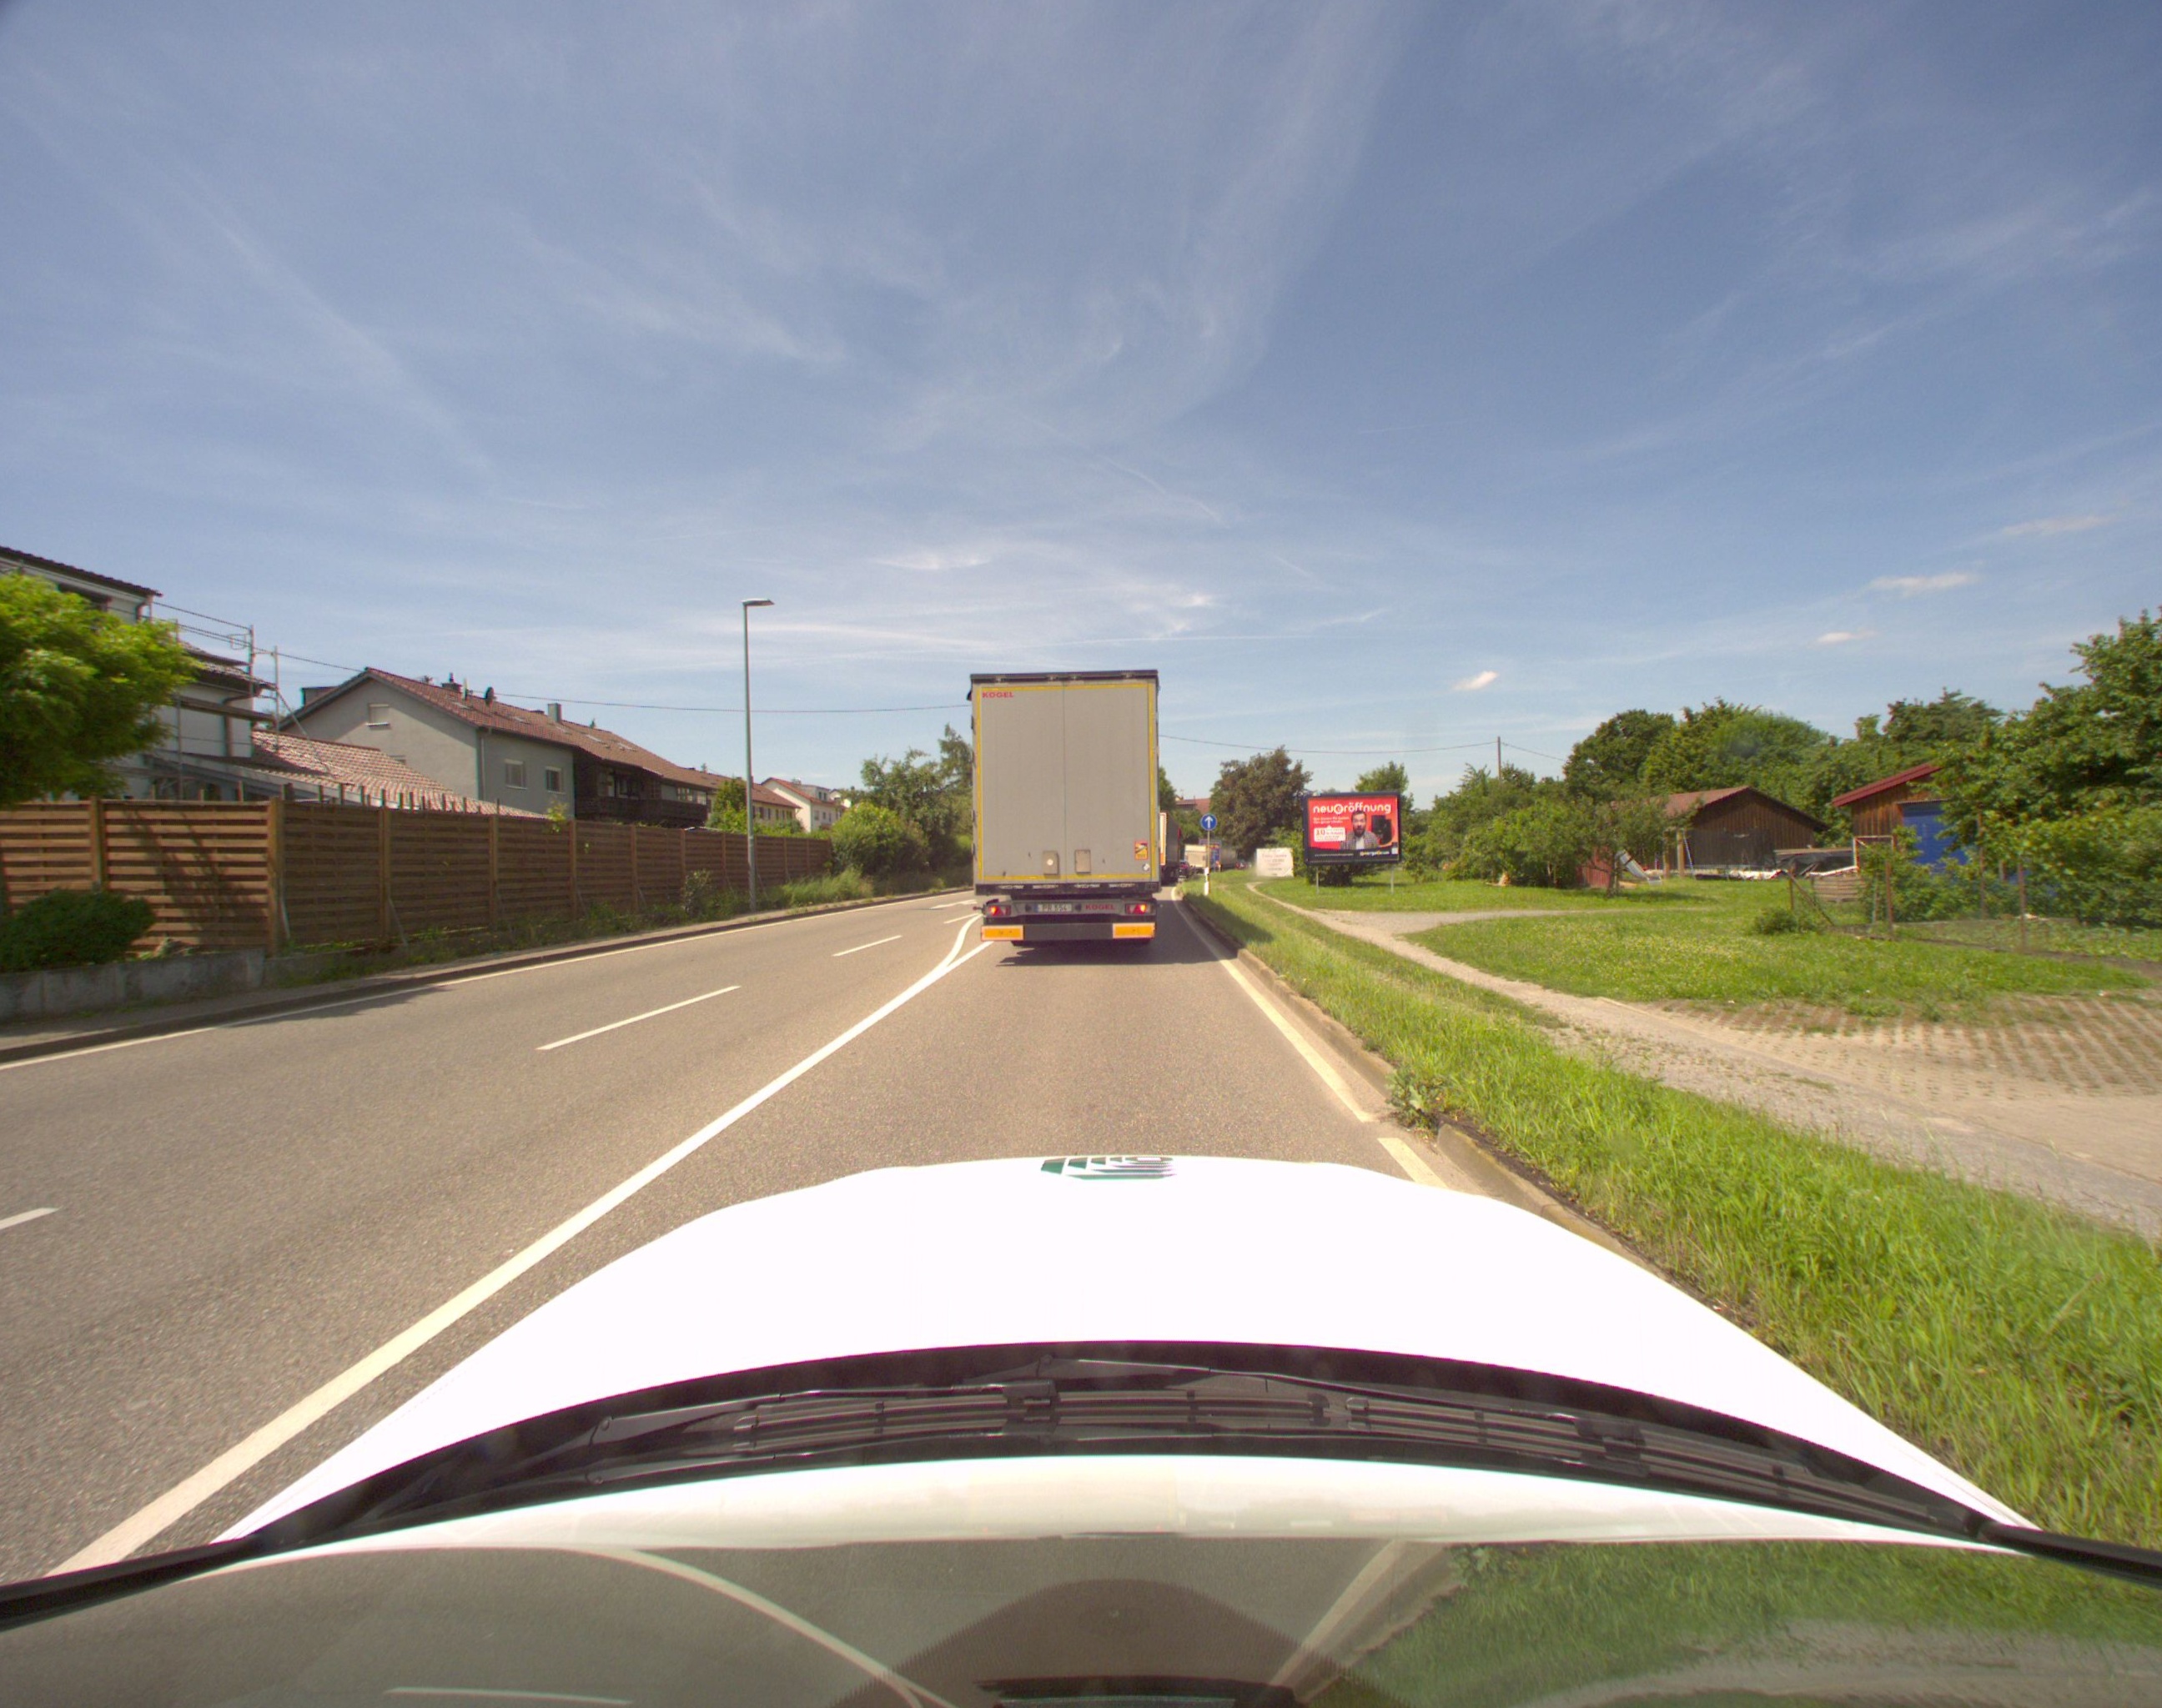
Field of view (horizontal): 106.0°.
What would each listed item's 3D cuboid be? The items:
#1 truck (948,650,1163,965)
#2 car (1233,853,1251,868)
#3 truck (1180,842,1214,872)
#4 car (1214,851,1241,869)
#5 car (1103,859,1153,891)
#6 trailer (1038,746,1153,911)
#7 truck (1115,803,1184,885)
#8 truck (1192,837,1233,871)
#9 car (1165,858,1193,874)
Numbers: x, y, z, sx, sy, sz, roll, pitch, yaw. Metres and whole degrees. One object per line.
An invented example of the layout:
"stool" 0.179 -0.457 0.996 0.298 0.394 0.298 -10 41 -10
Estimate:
"truck" 0.068 -0.620 16.479 2.809 4.127 11.456 0 0 4
"car" 22.641 0.903 114.602 1.978 2.014 4.018 -1 -1 17
"truck" 11.709 0.337 81.838 2.524 2.803 6.057 -1 -1 16
"car" 18.361 0.715 102.116 2.512 2.277 6.410 -1 0 17
"car" 2.156 0.924 36.131 1.808 1.346 3.857 0 -1 9
"trailer" 0.602 -0.647 23.722 2.812 4.111 6.552 -1 0 4
"truck" 4.625 -0.417 50.950 2.743 4.289 16.460 0 -1 10
"truck" 15.127 -0.041 93.072 3.406 3.604 9.395 -1 0 17
"car" 8.602 1.034 71.240 1.979 1.376 4.014 0 -1 14
